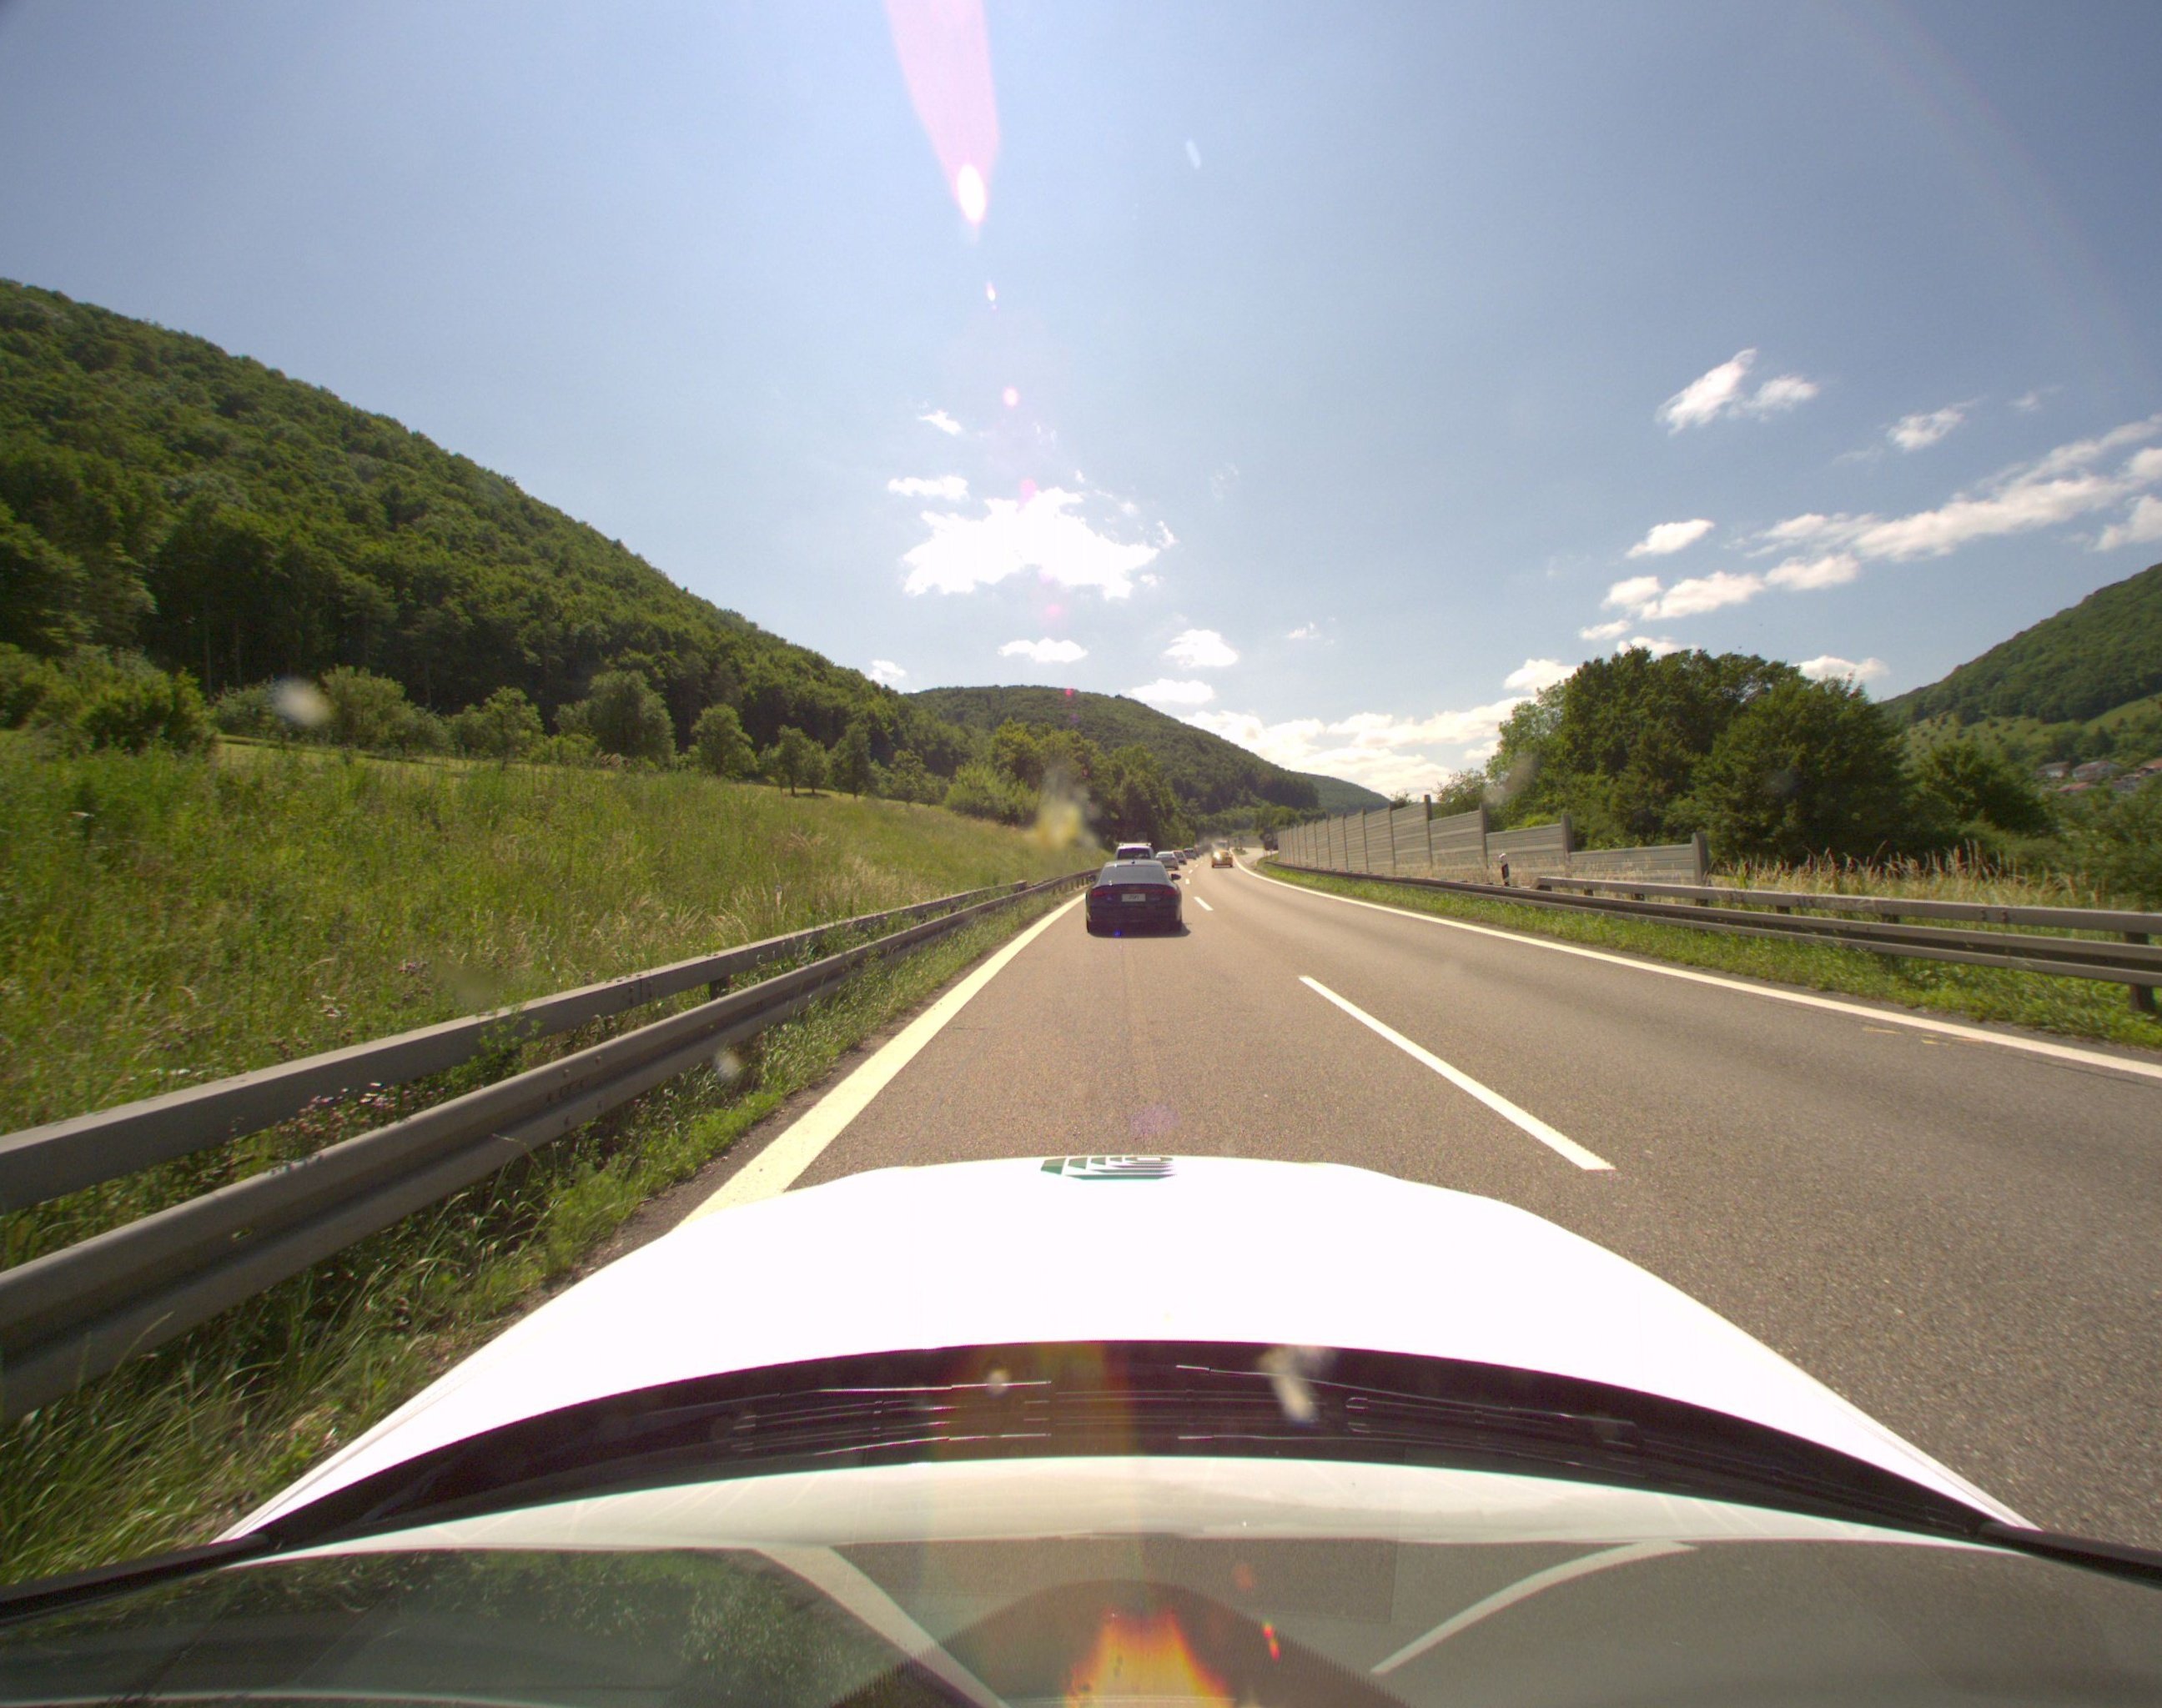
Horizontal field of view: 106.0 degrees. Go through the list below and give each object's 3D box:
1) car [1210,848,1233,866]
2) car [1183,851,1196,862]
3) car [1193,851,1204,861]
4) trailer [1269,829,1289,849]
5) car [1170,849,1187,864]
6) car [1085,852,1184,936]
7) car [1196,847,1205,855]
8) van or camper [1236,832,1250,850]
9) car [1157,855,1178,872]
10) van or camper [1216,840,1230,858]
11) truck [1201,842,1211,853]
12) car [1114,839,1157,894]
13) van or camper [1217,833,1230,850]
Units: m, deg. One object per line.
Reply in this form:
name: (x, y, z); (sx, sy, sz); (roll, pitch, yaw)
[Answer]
car: (12.147, 0.242, 70.214); (1.867, 1.498, 4.012); (-2, 0, 10)
car: (15.283, 0.310, 114.826); (1.511, 1.553, 3.525); (0, 0, 12)
car: (19.253, 0.361, 132.912); (1.511, 1.553, 3.526); (0, 0, 13)
trailer: (42.549, -3.176, 174.994); (3.391, 3.900, 11.182); (-2, 0, 10)
car: (10.111, 0.270, 84.257); (1.511, 1.553, 3.525); (0, 0, 11)
car: (1.067, 0.738, 16.712); (1.804, 1.514, 3.517); (-1, 0, 3)
car: (22.536, -0.523, 153.285); (1.511, 1.553, 3.525); (0, 0, 12)
van or camper: (36.862, -2.880, 185.409); (2.779, 3.841, 6.181); (0, 0, 8)
car: (6.923, 0.735, 64.720); (1.513, 1.294, 3.522); (-1, 0, 8)
van or camper: (25.589, -0.922, 146.572); (2.414, 3.155, 5.218); (0, 0, 10)
truck: (29.803, -1.604, 194.638); (2.051, 2.605, 5.632); (0, 0, 12)
car: (2.097, 0.441, 31.186); (1.514, 1.968, 3.518); (0, 0, 4)
van or camper: (33.383, -2.880, 190.781); (2.779, 3.907, 6.181); (0, 0, 8)
